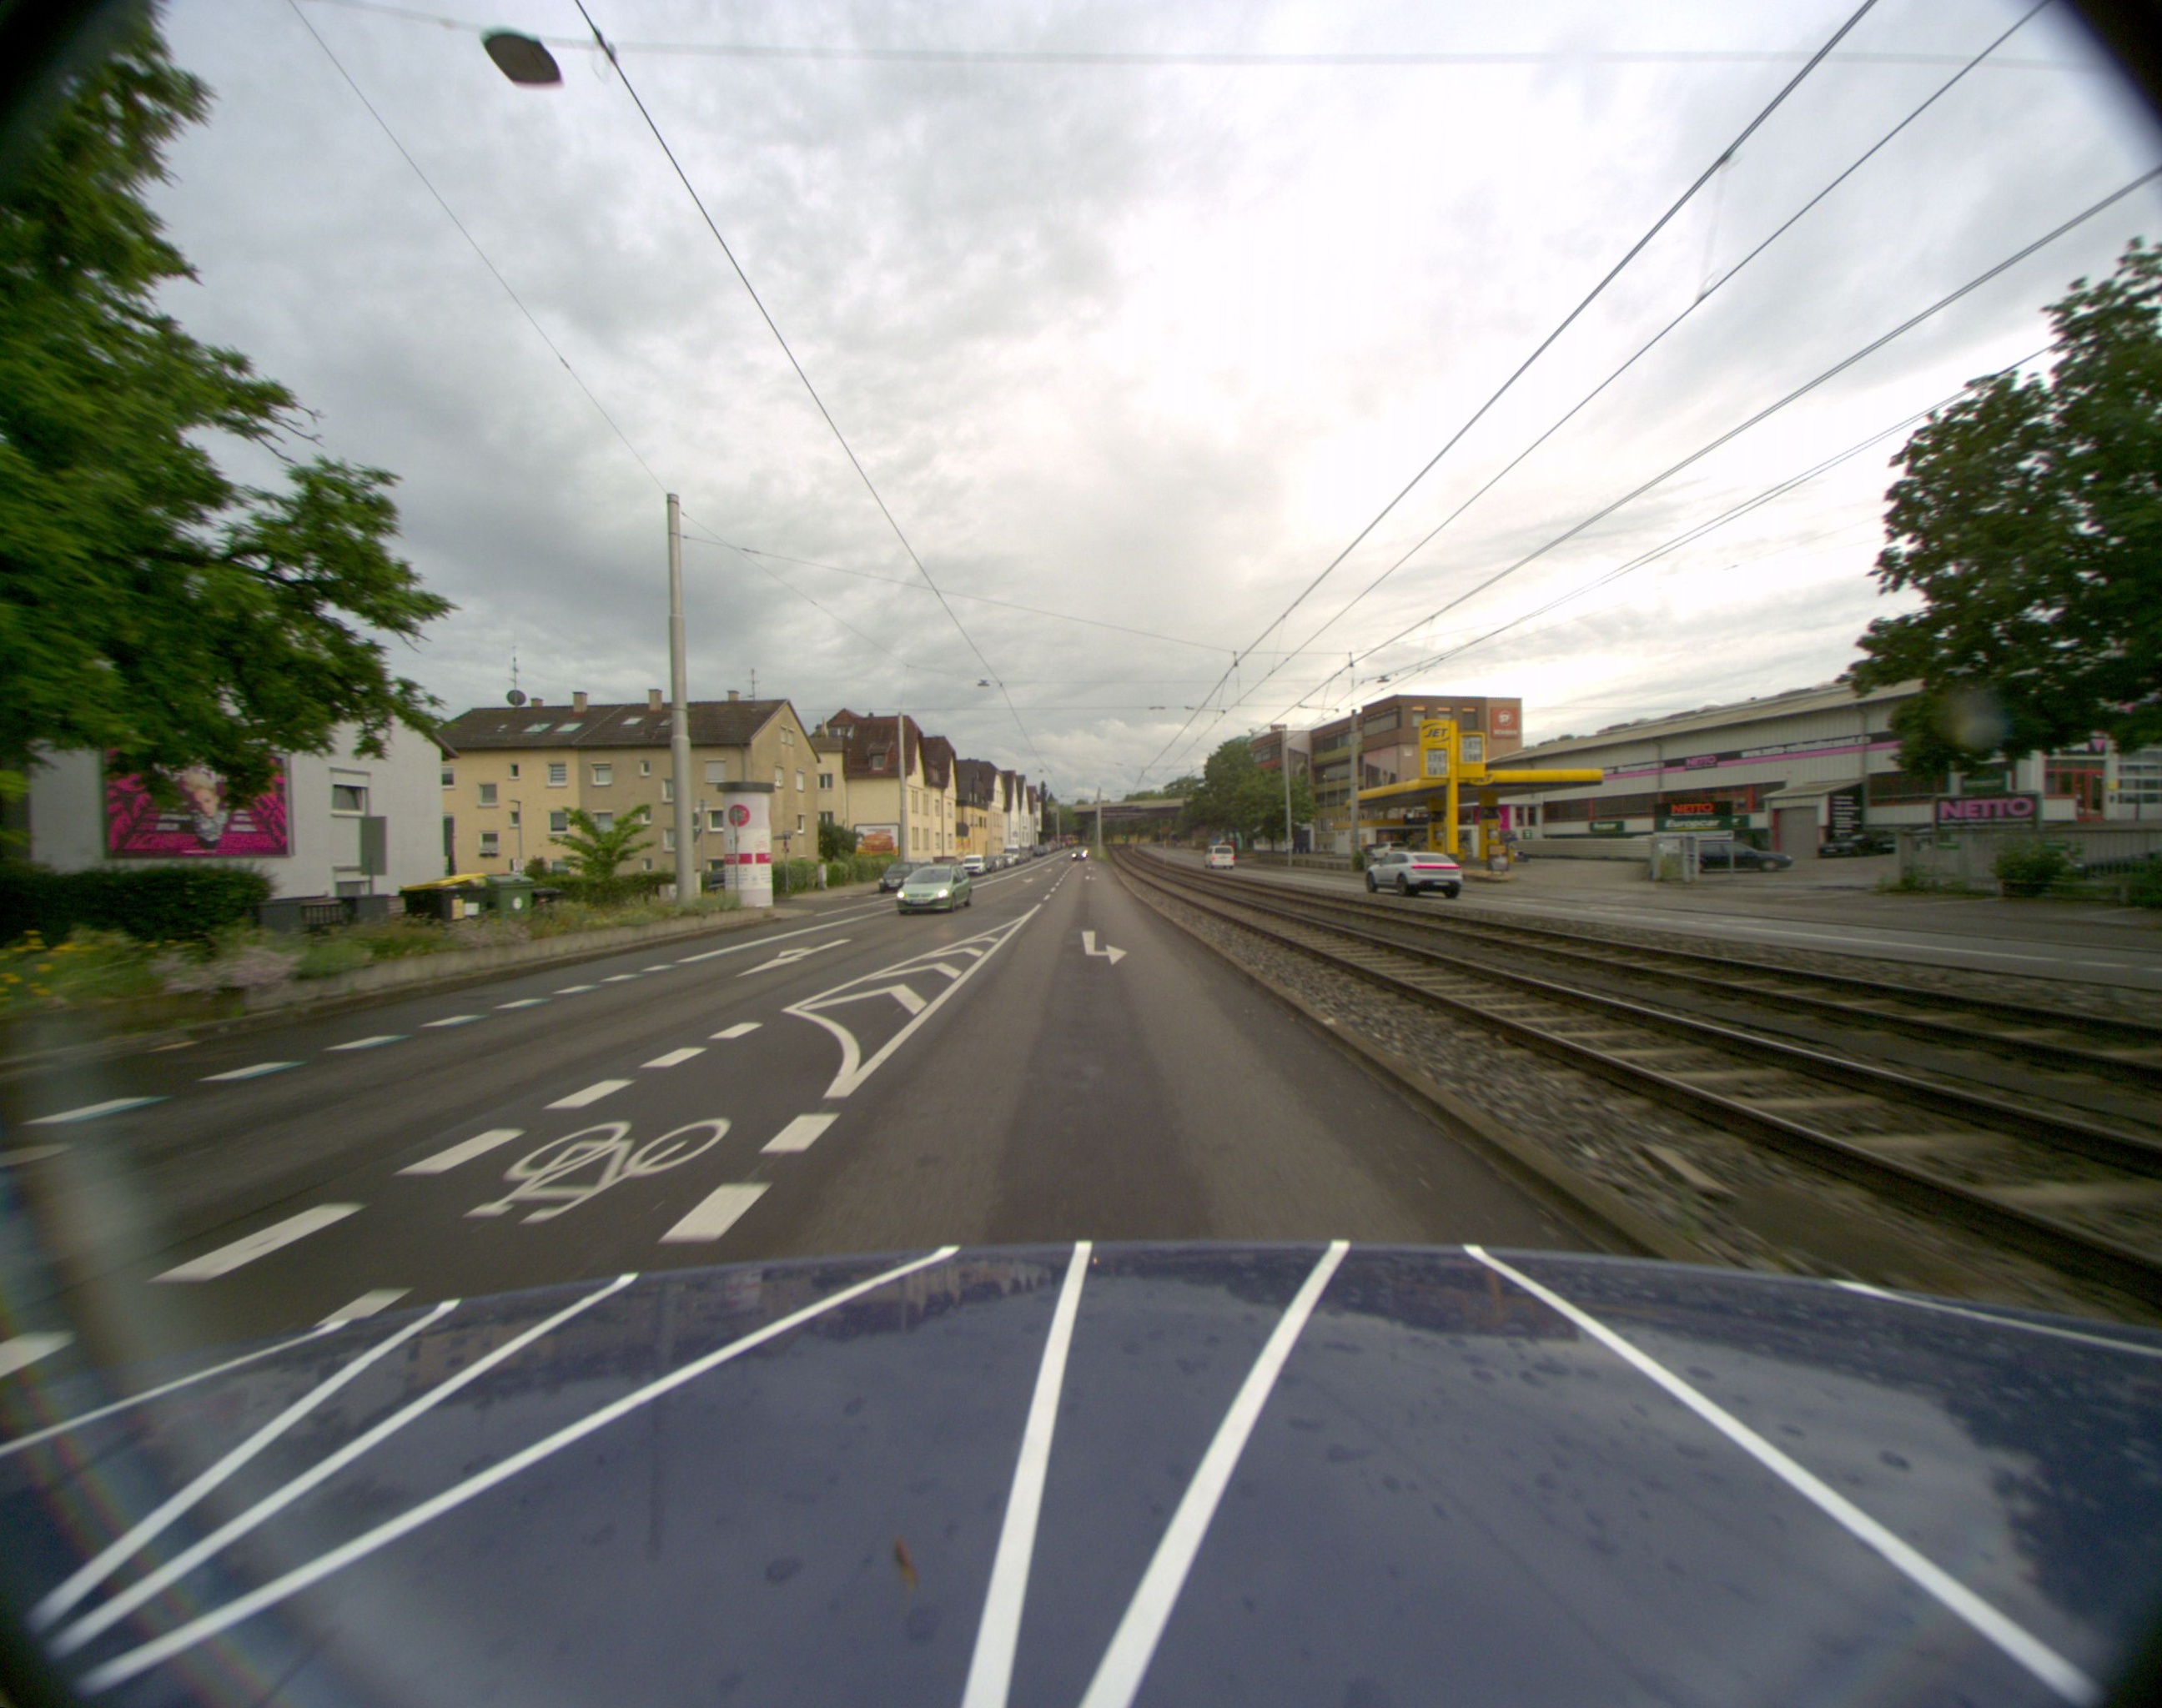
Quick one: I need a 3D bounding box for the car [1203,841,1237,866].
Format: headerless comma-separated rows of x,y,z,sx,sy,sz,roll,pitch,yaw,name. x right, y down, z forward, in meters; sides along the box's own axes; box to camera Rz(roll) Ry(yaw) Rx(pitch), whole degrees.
11.918,-0.031,65.514,1.999,2.002,5.059,1,0,0,car

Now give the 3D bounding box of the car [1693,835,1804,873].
29.690,0.015,33.930,3.591,1.580,1.706,-1,3,37,car

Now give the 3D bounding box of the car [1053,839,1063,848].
-4.586,-2.083,151.529,1.726,1.539,4.200,-3,2,3,car

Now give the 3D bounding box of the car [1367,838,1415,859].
23.364,-0.444,57.404,1.775,1.408,4.073,-3,2,-2,car

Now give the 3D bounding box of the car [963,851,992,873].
-8.838,0.646,65.080,1.852,1.746,4.520,-3,1,-1,car

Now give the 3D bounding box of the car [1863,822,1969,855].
44.452,-0.814,40.508,4.100,1.640,1.850,1,0,-9,car

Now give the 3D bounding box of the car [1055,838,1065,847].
-4.275,-2.396,156.040,1.726,1.539,4.200,-3,2,3,car

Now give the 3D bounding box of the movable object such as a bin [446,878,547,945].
-13.956,1.344,18.207,1.314,1.410,1.299,-3,2,-2,movable object such as a bin

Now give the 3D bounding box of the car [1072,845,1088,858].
-0.066,-0.320,98.213,1.888,1.417,4.199,-3,2,1,car

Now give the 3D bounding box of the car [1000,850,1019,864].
-8.082,0.318,86.324,1.605,1.456,4.200,-3,1,2,car

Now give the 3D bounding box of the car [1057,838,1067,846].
-3.929,-2.663,161.751,1.726,1.539,4.200,-3,2,3,car

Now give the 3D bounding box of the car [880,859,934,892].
-9.365,1.124,41.310,1.841,1.525,4.438,-3,1,0,car

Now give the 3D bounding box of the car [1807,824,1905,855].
44.033,-0.805,43.199,4.100,1.640,1.850,1,0,-9,car

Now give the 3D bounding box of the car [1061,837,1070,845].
-3.364,-2.819,167.519,1.726,1.539,4.200,-3,2,3,car

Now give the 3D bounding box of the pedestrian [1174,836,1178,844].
19.167,-2.800,153.529,0.747,1.636,1.021,-1,2,2,pedestrian

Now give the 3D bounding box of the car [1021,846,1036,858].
-7.259,-0.300,105.232,1.726,1.338,4.199,-3,2,0,car

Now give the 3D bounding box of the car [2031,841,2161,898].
30.199,0.418,21.391,1.691,1.448,3.996,-3,2,-8,car

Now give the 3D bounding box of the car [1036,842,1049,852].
-6.236,-1.139,123.523,1.726,1.539,4.200,-3,2,3,car

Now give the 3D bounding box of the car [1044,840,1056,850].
-5.510,-1.616,134.280,1.726,1.539,4.200,-3,2,3,car

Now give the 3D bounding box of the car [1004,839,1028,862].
-7.821,-0.450,91.993,2.045,2.485,5.919,-3,2,1,car

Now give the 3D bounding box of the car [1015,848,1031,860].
-7.510,-0.028,98.842,1.726,1.338,4.083,-3,2,0,car

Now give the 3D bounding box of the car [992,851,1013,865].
-8.379,0.411,81.514,1.605,1.394,3.791,-3,1,2,car

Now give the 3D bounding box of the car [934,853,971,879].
-9.322,0.830,55.389,1.841,1.619,4.098,-3,1,1,car

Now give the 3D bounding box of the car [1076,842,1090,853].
0.299,-0.955,112.092,1.888,1.417,4.199,-3,2,0,car

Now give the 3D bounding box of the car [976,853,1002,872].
-8.409,0.748,69.976,1.690,1.503,4.136,-3,1,2,car

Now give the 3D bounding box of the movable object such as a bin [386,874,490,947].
-14.035,1.212,16.636,1.187,1.410,1.134,-3,2,-2,movable object such as a bin

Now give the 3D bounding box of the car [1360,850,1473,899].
12.179,0.684,28.000,1.999,1.640,4.759,1,0,-1,car

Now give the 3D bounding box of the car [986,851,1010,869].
-8.279,0.554,76.249,1.705,1.557,4.281,-3,2,2,car

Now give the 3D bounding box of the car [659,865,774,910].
-16.744,1.504,35.055,4.283,1.646,1.879,-4,2,4,car

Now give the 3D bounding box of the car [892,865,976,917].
-4.760,1.153,25.250,1.888,1.440,4.200,-3,0,0,car
